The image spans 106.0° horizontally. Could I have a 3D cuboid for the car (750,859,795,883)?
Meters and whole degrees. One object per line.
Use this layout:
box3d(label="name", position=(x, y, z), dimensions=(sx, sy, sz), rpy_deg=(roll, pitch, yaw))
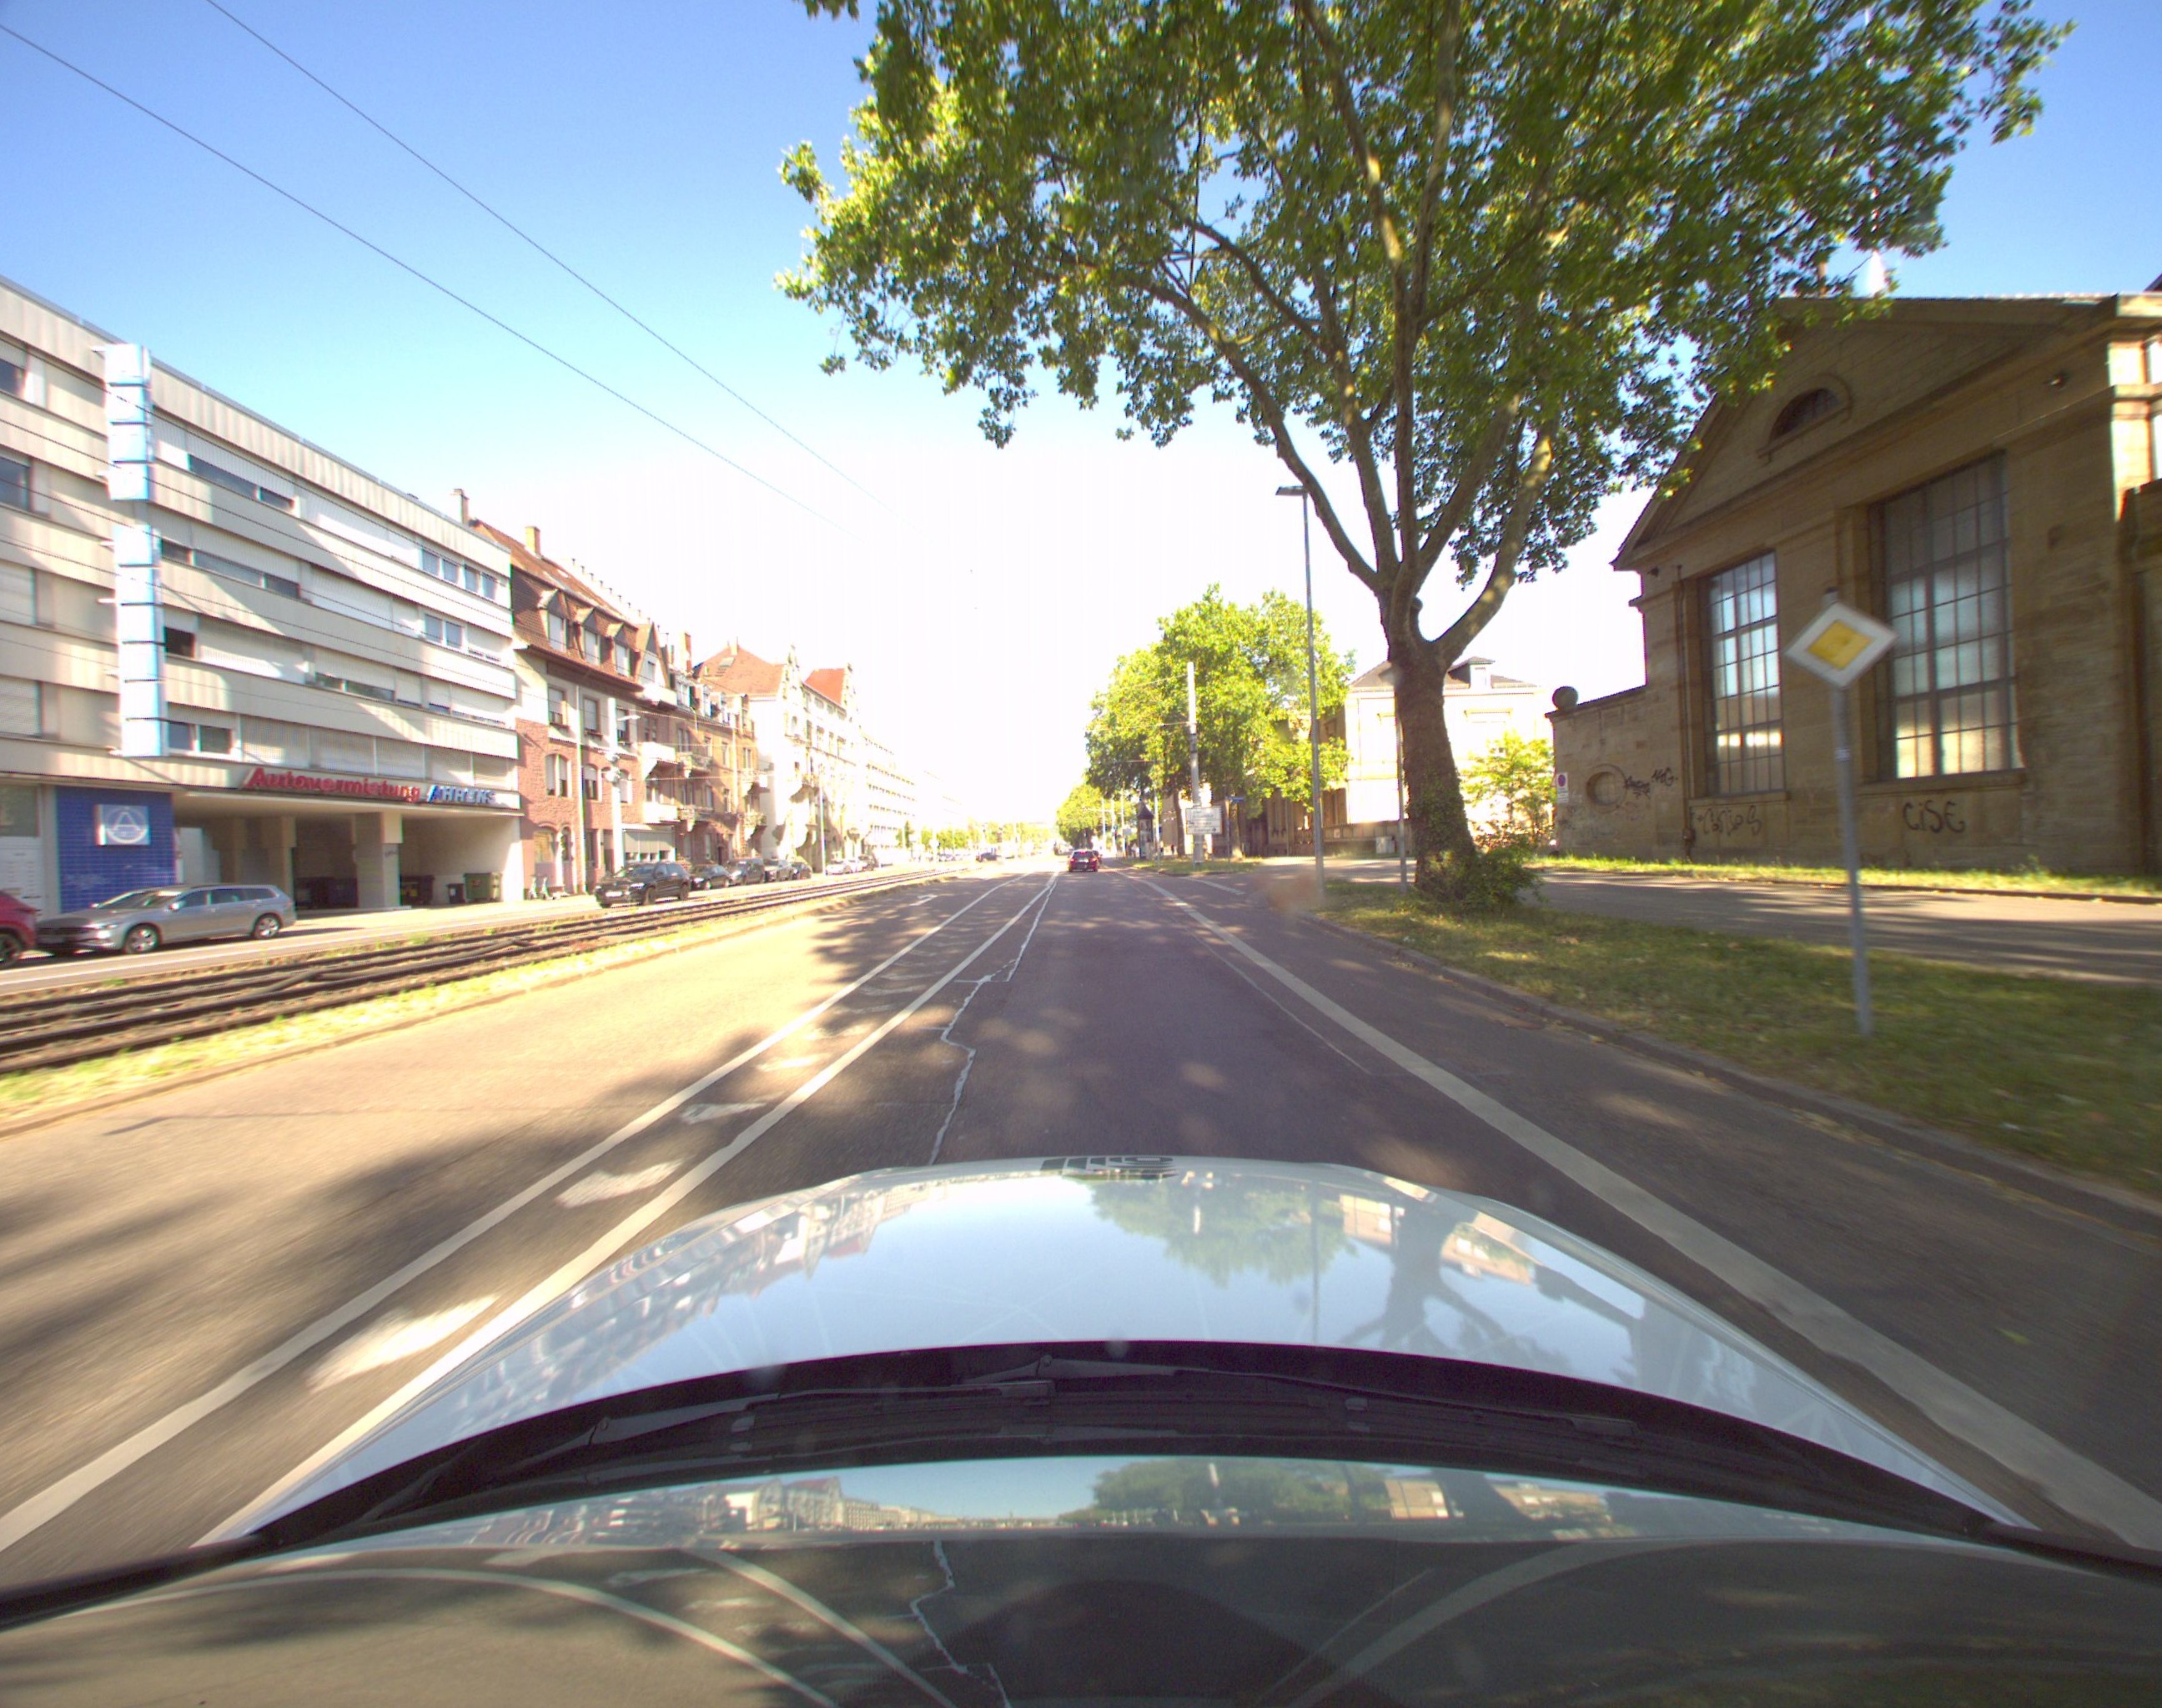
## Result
box3d(label="car", position=(-22.073, 1.191, 58.388), dimensions=(1.682, 1.652, 4.197), rpy_deg=(1, 0, -1))

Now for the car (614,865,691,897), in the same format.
box3d(label="car", position=(-22.071, 1.343, 42.166), dimensions=(1.789, 1.460, 4.263), rpy_deg=(1, 0, -2))

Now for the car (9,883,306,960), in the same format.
box3d(label="car", position=(-21.756, 1.509, 19.571), dimensions=(1.828, 1.391, 4.679), rpy_deg=(-2, 0, -2))

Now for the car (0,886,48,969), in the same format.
box3d(label="car", position=(-21.696, 1.437, 14.180), dimensions=(1.827, 1.558, 4.352), rpy_deg=(-1, 0, 0))

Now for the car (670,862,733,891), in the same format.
box3d(label="car", position=(-22.029, 1.290, 47.419), dimensions=(1.789, 1.510, 3.998), rpy_deg=(1, 0, -1))

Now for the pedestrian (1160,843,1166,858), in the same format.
box3d(label="pedestrian", position=(9.528, -0.366, 94.565), dimensions=(0.584, 1.728, 0.652), rpy_deg=(-1, 0, 11))

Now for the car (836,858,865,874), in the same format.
box3d(label="car", position=(-22.960, 1.210, 81.195), dimensions=(1.790, 1.510, 4.181), rpy_deg=(1, 0, -2))

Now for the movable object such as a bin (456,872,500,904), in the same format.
box3d(label="movable object such as a bin", position=(-26.876, 1.506, 36.305), dimensions=(1.410, 1.371, 0.633), rpy_deg=(-2, 0, -8))

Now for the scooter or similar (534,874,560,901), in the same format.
box3d(label="scooter or similar", position=(-24.846, 1.536, 37.905), dimensions=(0.390, 1.205, 1.200), rpy_deg=(0, 0, 0))

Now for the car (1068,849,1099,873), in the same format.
box3d(label="car", position=(0.129, 0.431, 53.082), dimensions=(1.828, 1.391, 4.156), rpy_deg=(-2, 0, -2))

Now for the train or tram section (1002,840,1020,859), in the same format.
box3d(label="train or tram section", position=(-14.022, -0.881, 163.735), dimensions=(2.817, 3.450, 9.061), rpy_deg=(-3, 0, -1))

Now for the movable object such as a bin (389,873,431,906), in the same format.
box3d(label="movable object such as a bin", position=(-29.751, 1.564, 36.108), dimensions=(1.265, 1.371, 0.634), rpy_deg=(-2, 0, -5))

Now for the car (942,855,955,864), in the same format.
box3d(label="car", position=(-24.913, 1.062, 153.066), dimensions=(1.790, 1.510, 3.995), rpy_deg=(-3, 0, -3))

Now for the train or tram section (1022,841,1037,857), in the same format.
box3d(label="train or tram section", position=(-12.198, -1.165, 195.041), dimensions=(2.816, 3.450, 9.063), rpy_deg=(-3, 0, 0))

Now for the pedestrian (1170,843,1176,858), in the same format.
box3d(label="pedestrian", position=(10.698, -0.380, 94.347), dimensions=(0.584, 1.728, 0.652), rpy_deg=(-1, 0, 13))

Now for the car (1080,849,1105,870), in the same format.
box3d(label="car", position=(0.823, 0.381, 62.715), dimensions=(1.789, 1.510, 3.999), rpy_deg=(-3, 0, 0))

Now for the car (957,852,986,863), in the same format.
box3d(label="car", position=(-15.890, 0.496, 118.063), dimensions=(1.777, 1.510, 4.025), rpy_deg=(-1, -1, 41))

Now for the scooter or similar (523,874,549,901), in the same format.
box3d(label="scooter or similar", position=(-25.410, 1.532, 37.962), dimensions=(0.390, 1.205, 1.200), rpy_deg=(0, 0, 0))

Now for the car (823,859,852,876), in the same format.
box3d(label="car", position=(-22.646, 1.231, 75.718), dimensions=(1.791, 1.510, 3.993), rpy_deg=(1, 0, -5))

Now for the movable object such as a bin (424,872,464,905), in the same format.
box3d(label="movable object such as a bin", position=(-28.273, 1.518, 36.149), dimensions=(1.192, 1.371, 0.633), rpy_deg=(-2, 0, -8))

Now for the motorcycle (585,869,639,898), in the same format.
box3d(label="motorcycle", position=(-22.329, 1.400, 38.849), dimensions=(2.072, 1.327, 0.836), rpy_deg=(1, 0, -17))

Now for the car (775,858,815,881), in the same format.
box3d(label="car", position=(-22.288, 1.159, 63.672), dimensions=(1.682, 1.652, 4.197), rpy_deg=(1, 0, -1))

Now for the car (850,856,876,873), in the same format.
box3d(label="car", position=(-23.179, 1.075, 86.757), dimensions=(1.790, 1.719, 4.181), rpy_deg=(1, 0, -2))

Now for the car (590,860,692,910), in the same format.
box3d(label="car", position=(-16.329, 1.100, 30.456), dimensions=(1.631, 1.601, 4.155), rpy_deg=(-4, 0, -3))

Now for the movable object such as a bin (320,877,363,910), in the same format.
box3d(label="movable object such as a bin", position=(-32.530, 1.731, 35.826), dimensions=(1.263, 1.371, 0.635), rpy_deg=(-2, 0, -1))

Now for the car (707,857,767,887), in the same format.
box3d(label="car", position=(-22.012, 1.120, 52.354), dimensions=(1.787, 1.754, 4.457), rpy_deg=(1, 0, 2))

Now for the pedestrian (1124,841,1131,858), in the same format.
box3d(label="pedestrian", position=(4.731, -0.427, 82.278), dimensions=(0.584, 1.728, 0.652), rpy_deg=(-1, 0, 11))

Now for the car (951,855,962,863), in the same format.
box3d(label="car", position=(-24.471, 0.941, 159.876), dimensions=(1.790, 1.510, 3.995), rpy_deg=(-3, 0, -3))

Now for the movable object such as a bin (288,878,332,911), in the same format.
box3d(label="movable object such as a bin", position=(-33.867, 1.777, 35.788), dimensions=(1.263, 1.371, 0.635), rpy_deg=(-2, 0, -1))
